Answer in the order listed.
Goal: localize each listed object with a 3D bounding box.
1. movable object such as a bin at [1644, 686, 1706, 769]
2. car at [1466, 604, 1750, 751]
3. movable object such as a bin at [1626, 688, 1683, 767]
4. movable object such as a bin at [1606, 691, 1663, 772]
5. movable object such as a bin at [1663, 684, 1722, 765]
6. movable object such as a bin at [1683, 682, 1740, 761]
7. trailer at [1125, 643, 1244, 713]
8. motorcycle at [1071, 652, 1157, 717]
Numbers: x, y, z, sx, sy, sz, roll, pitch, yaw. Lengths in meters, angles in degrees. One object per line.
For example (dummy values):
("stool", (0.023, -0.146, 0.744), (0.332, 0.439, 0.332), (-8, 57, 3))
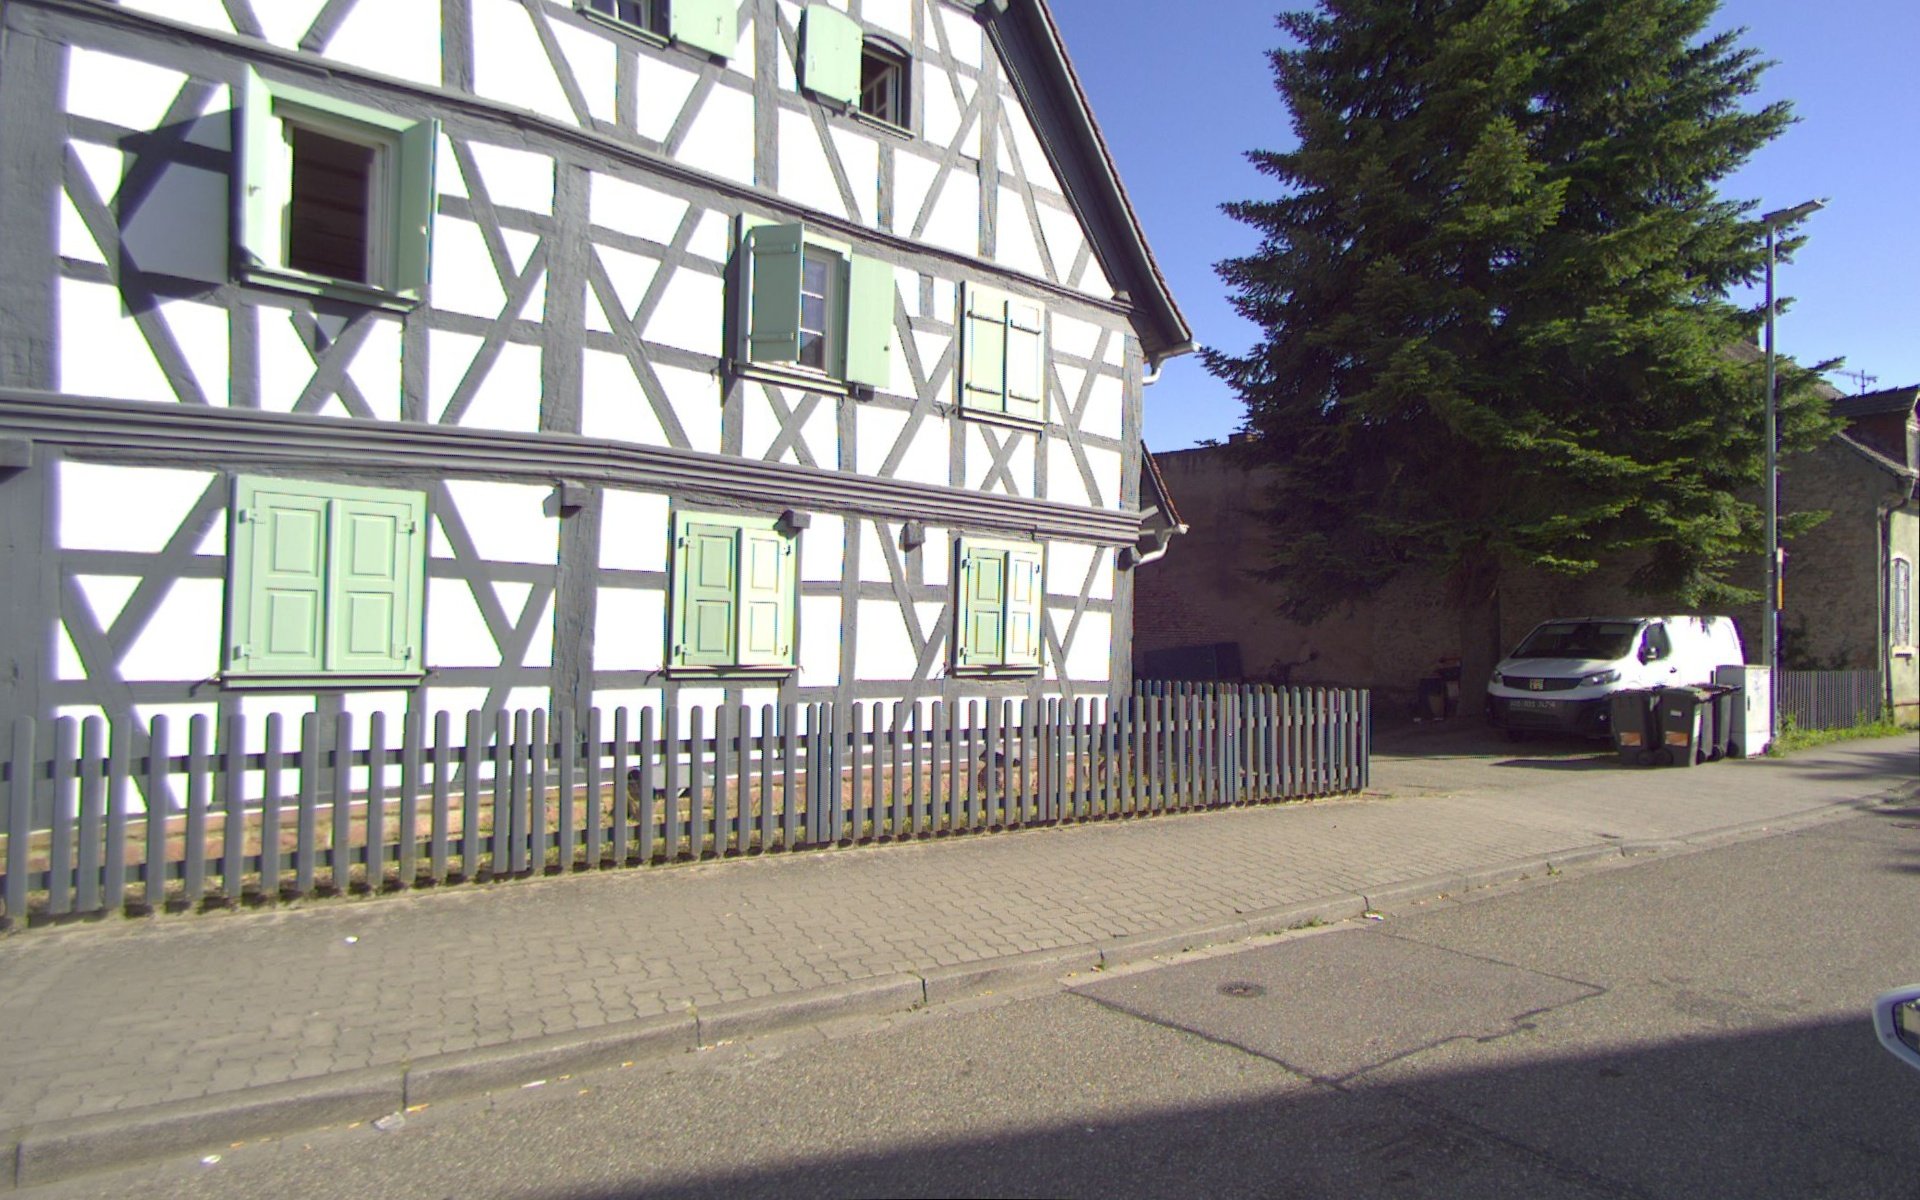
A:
("movable object such as a bin", (8.656, 1.534, 12.162), (0.485, 0.936, 0.437), (-1, -1, -33))
("car", (10.290, 1.160, 15.814), (5.089, 1.981, 1.928), (2, -3, -34))
("movable object such as a bin", (8.847, 1.617, 12.801), (0.485, 0.936, 0.417), (-1, -1, -33))
("movable object such as a bin", (8.411, 1.624, 12.529), (0.485, 0.936, 0.417), (-1, -1, -33))
("movable object such as a bin", (9.065, 1.530, 12.431), (0.485, 0.936, 0.426), (-1, -1, -33))
("movable object such as a bin", (9.505, 1.522, 12.705), (0.485, 0.936, 0.417), (-1, -1, -33))
("trailer", (5.480, 1.867, 24.634), (1.535, 1.592, 2.410), (3, -3, -43))
("motorcycle", (3.621, 1.954, 23.522), (2.120, 1.371, 0.590), (-1, -1, -33))
